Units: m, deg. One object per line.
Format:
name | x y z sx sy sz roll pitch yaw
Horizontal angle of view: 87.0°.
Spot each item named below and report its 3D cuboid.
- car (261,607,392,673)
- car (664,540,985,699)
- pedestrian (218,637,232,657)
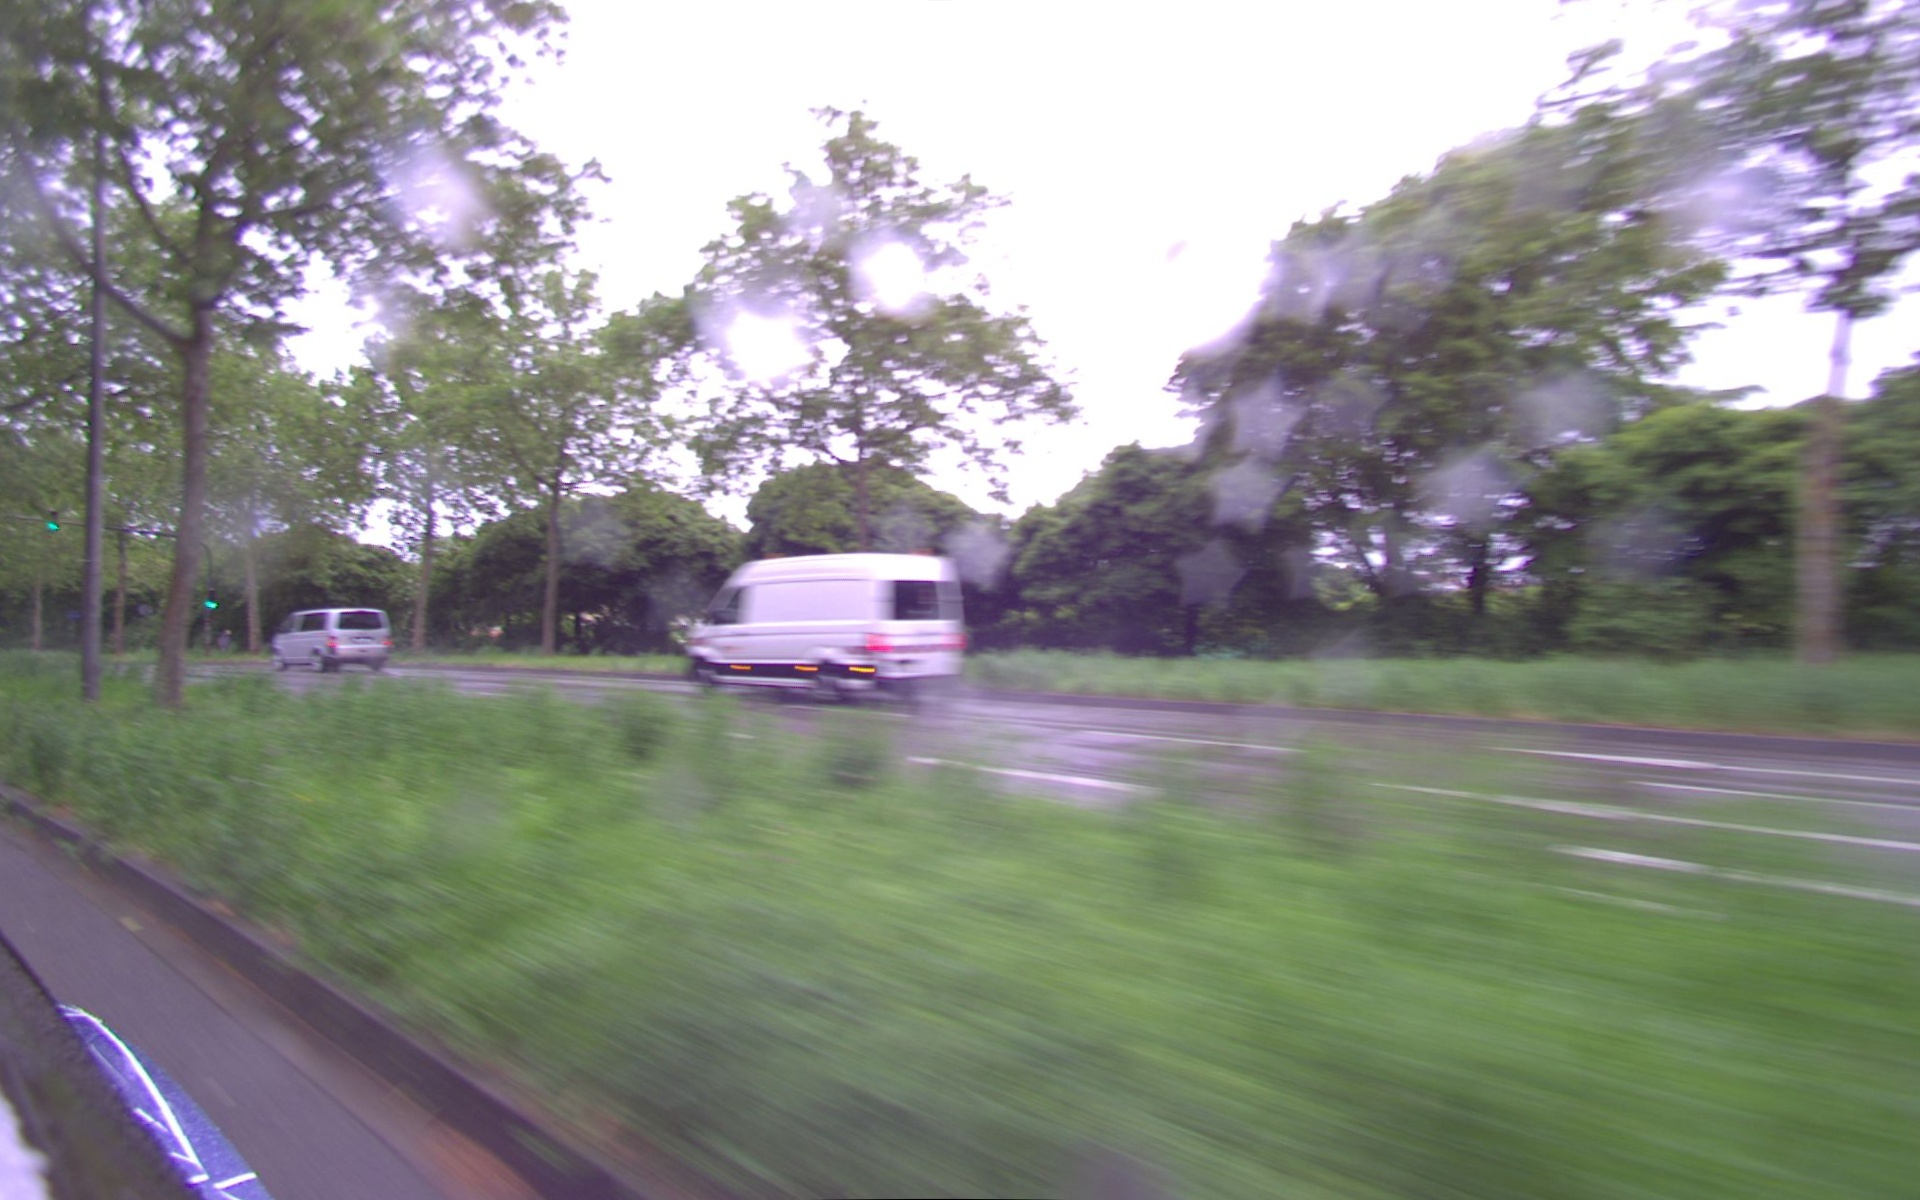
car | -20.446 1.274 32.583 5.190 1.955 1.915 -2 -2 38
car | -2.684 0.406 18.551 6.358 2.445 2.254 -2 -3 42
pedestrian | -38.878 2.469 53.539 0.441 1.048 0.470 -2 -3 37
